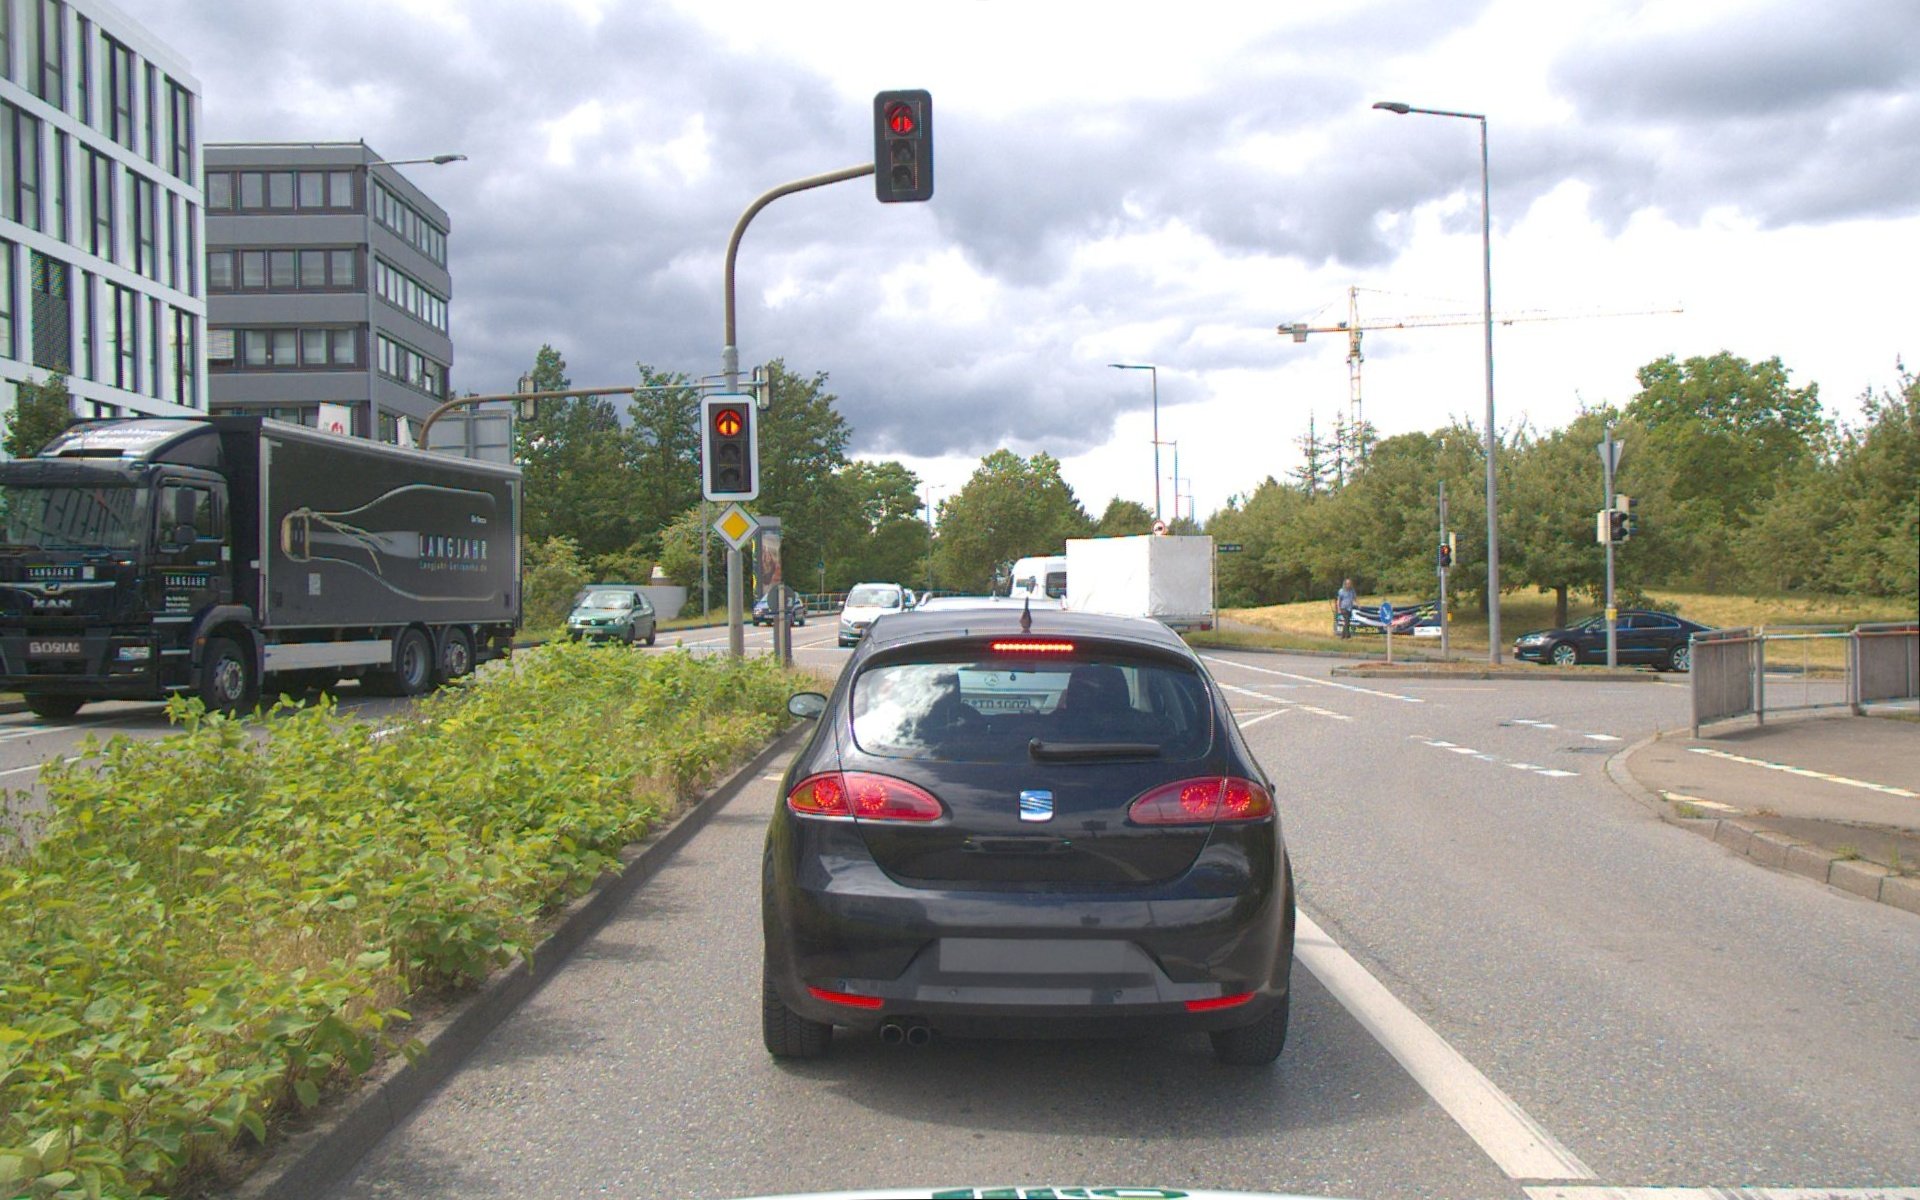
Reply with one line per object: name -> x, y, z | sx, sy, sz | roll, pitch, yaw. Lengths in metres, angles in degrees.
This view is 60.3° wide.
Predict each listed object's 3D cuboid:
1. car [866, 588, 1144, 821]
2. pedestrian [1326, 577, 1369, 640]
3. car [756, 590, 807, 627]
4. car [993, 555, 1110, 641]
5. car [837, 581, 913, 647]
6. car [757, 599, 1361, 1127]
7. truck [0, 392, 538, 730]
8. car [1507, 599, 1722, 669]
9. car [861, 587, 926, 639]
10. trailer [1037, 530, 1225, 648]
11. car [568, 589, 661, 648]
car -> 0.311, 0.690, 12.703 | 1.797, 1.493, 3.751 | 1, 0, 0
pedestrian -> 11.380, 0.248, 48.554 | 0.709, 1.824, 1.034 | 1, -1, -27
car -> -7.319, 0.309, 68.119 | 1.521, 1.444, 3.897 | 1, 1, 3
car -> 2.802, -0.054, 52.321 | 2.090, 2.562, 5.814 | 1, 0, -13
car -> -2.317, 0.349, 46.175 | 1.783, 1.716, 4.646 | 1, 1, 1
car -> 0.261, 0.738, 6.363 | 1.676, 1.442, 3.459 | 1, 0, -1
truck -> -9.221, -0.477, 22.519 | 3.100, 3.579, 9.535 | 1, 1, 9
car -> 15.426, 0.772, 39.174 | 4.362, 1.593, 2.001 | 0, 0, 5
car -> -2.061, 0.382, 52.257 | 1.625, 1.545, 4.086 | 1, 1, 3
trailer -> 4.761, -0.285, 46.965 | 2.466, 3.127, 5.527 | 1, 0, -31
car -> -8.998, 0.450, 43.322 | 1.572, 1.457, 3.753 | 0, 0, 1
